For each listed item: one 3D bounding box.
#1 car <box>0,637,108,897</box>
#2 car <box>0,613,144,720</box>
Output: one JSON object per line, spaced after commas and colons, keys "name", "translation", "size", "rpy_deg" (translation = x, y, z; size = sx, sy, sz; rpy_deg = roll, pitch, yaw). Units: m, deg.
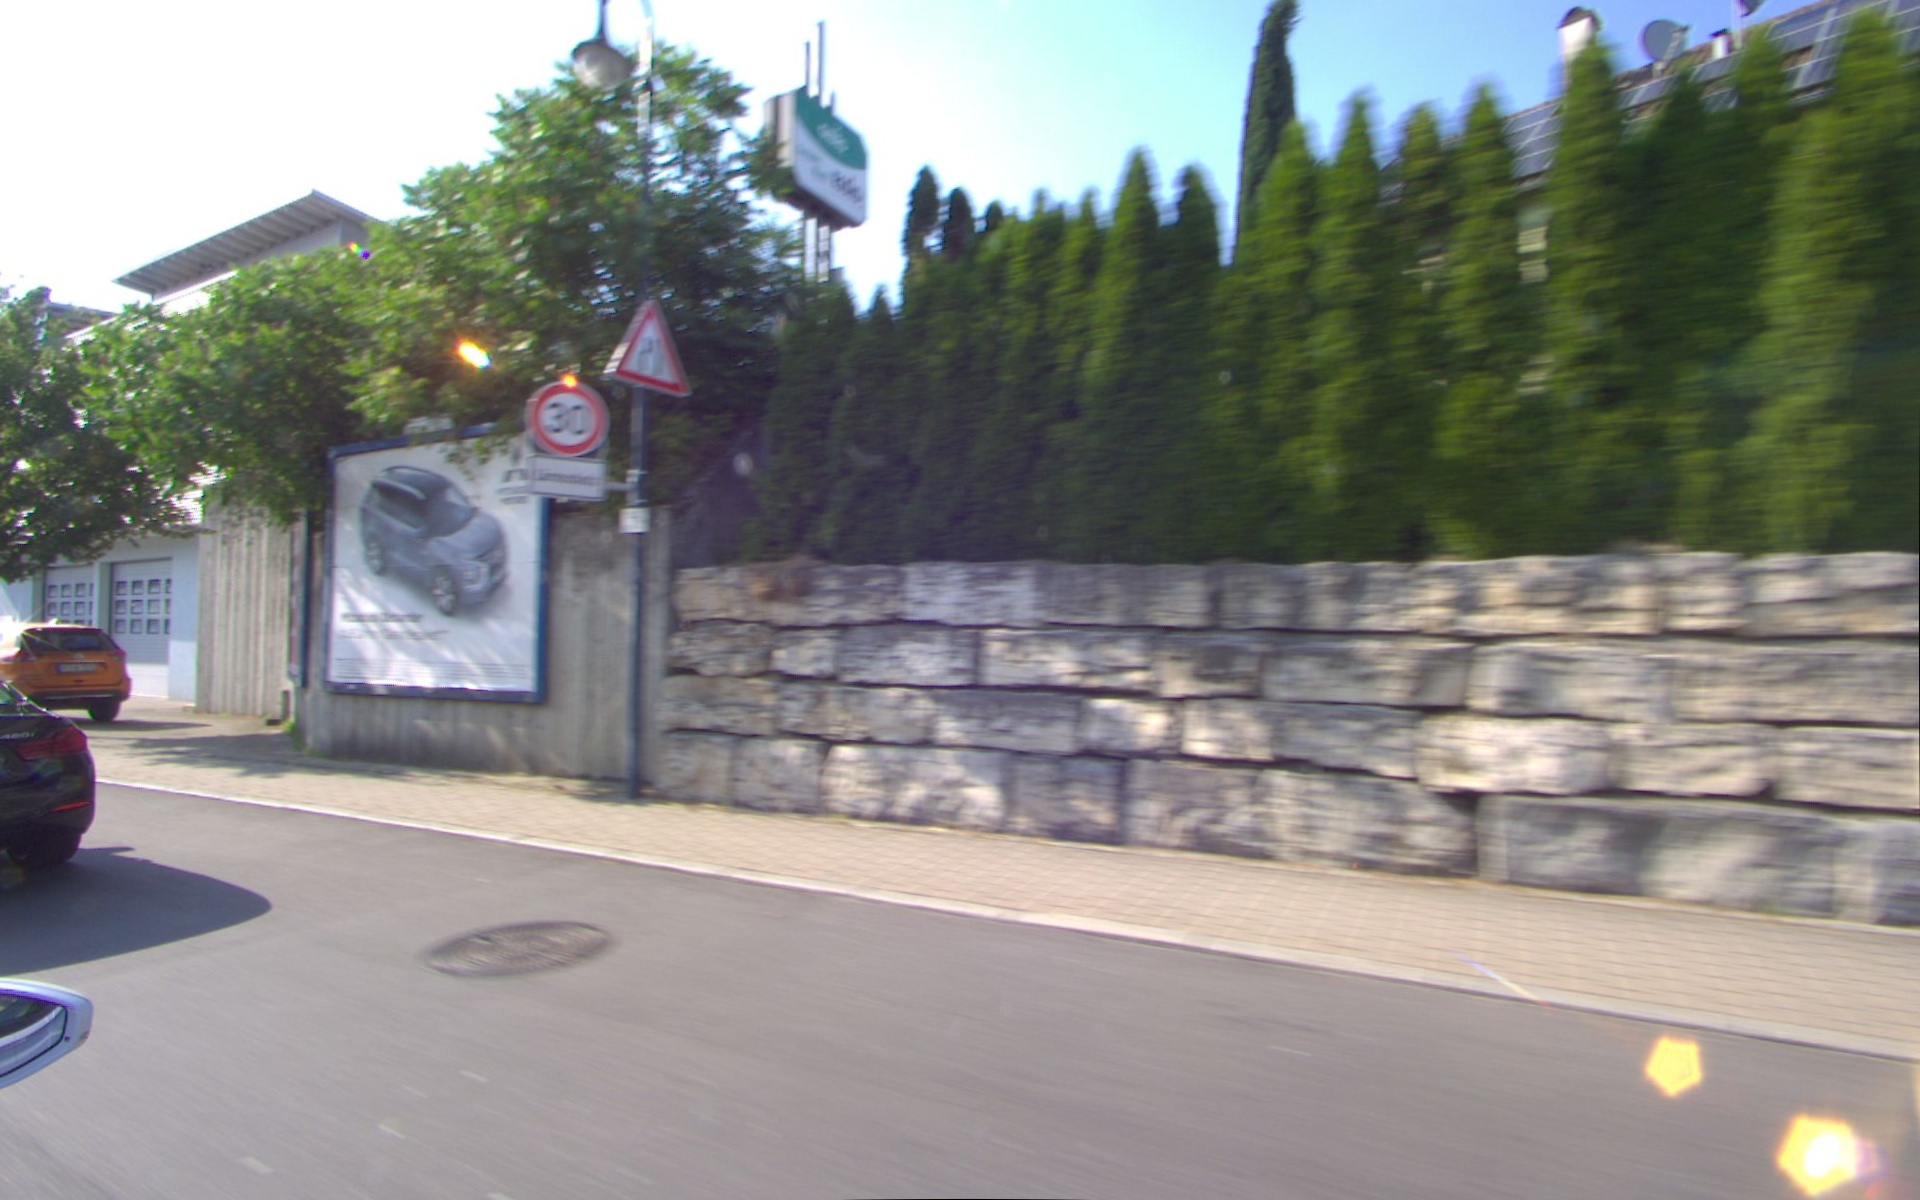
{"name": "car", "translation": [-7.229, 0.923, 6.150], "size": [4.197, 1.386, 1.698], "rpy_deg": [0, -1, 29]}
{"name": "car", "translation": [-16.560, 1.097, 17.448], "size": [4.463, 1.670, 1.836], "rpy_deg": [-1, -2, 24]}
